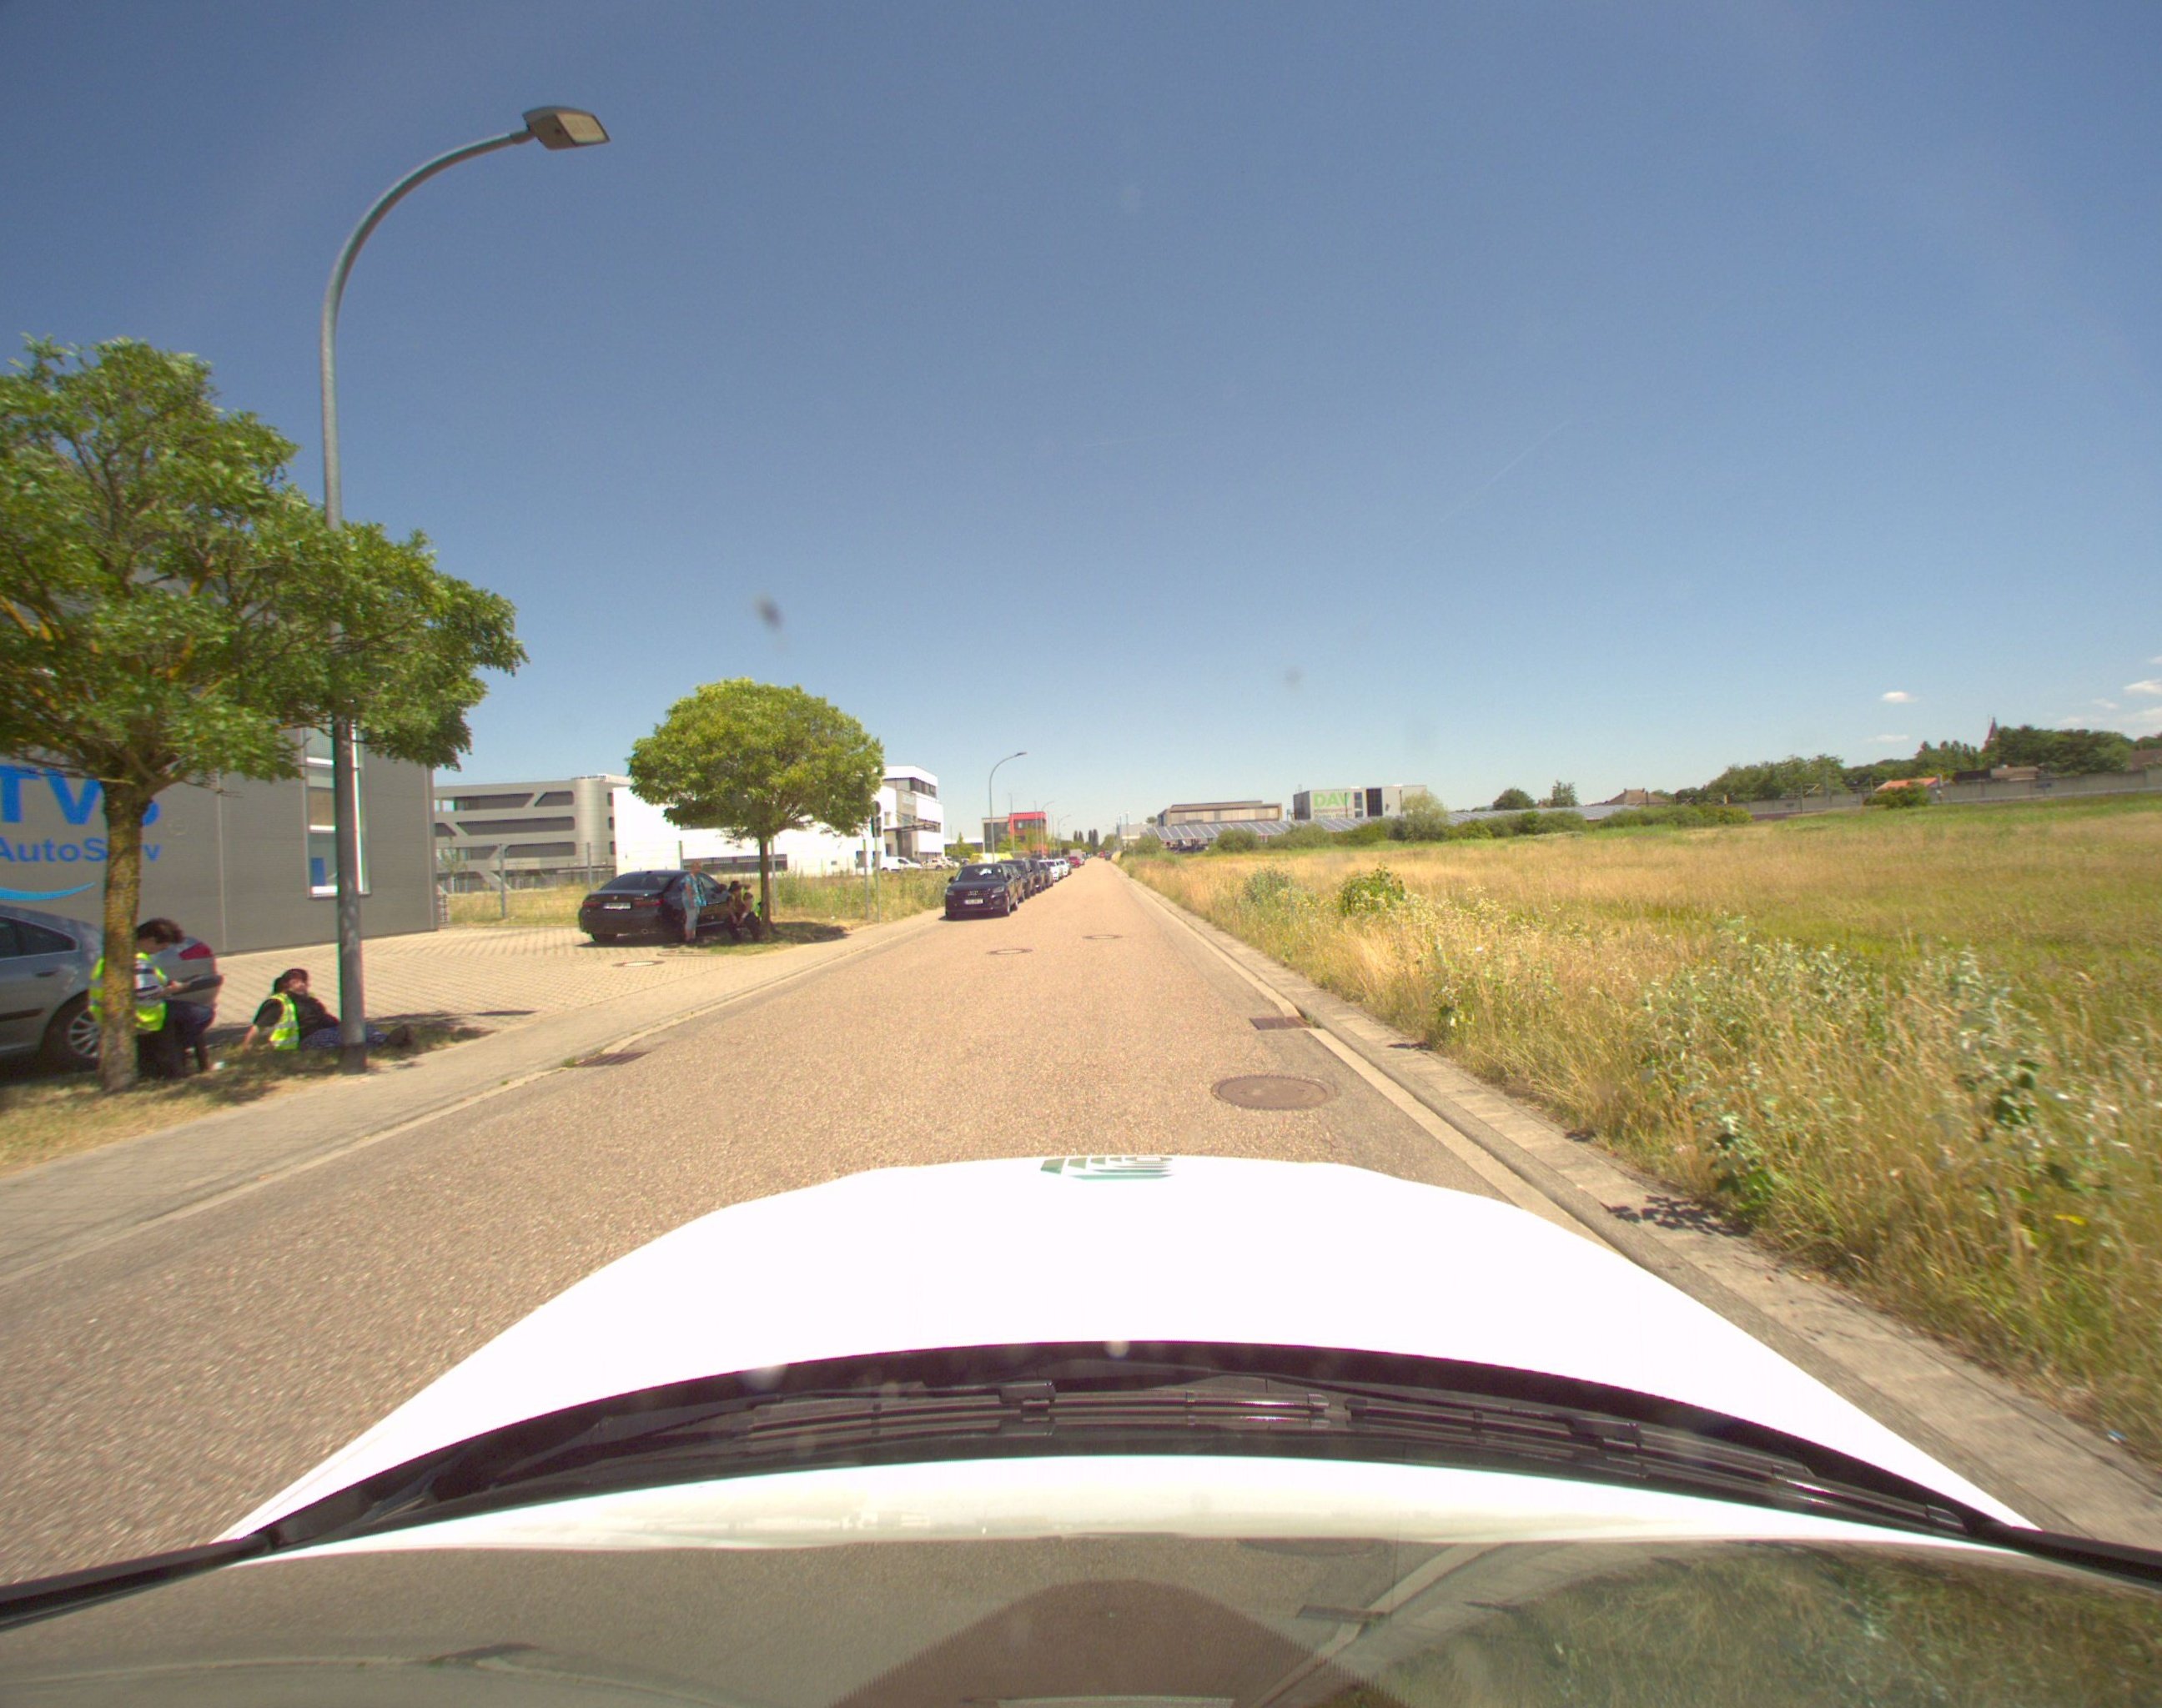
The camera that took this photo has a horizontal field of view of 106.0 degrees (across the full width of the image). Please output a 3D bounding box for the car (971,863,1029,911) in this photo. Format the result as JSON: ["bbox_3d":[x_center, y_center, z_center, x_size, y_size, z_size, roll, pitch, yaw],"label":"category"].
[{"bbox_3d":[-2.872,1.161,29.652,1.584,1.492,3.833,-3,0,1],"label":"car"}]

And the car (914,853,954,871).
[{"bbox_3d":[-18.452,1.035,102.263,4.512,1.943,2.032,-3,0,1],"label":"car"}]

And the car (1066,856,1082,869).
[{"bbox_3d":[-0.907,1.112,106.461,1.780,1.520,3.983,-3,0,1],"label":"car"}]

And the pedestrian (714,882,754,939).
[{"bbox_3d":[-7.503,1.203,17.609,0.503,1.191,0.753,0,0,3],"label":"pedestrian"}]

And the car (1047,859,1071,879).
[{"bbox_3d":[-1.805,1.227,68.858,1.780,1.520,3.983,-3,0,1],"label":"car"}]

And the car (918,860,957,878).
[{"bbox_3d":[-18.443,1.925,104.725,4.512,1.943,2.032,-3,0,1],"label":"car"}]

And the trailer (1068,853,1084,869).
[{"bbox_3d":[-0.714,1.007,117.896,2.193,2.137,4.286,-3,0,1],"label":"trailer"}]

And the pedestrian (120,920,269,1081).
[{"bbox_3d":[-6.814,1.097,6.284,0.475,1.150,0.556,0,-3,11],"label":"pedestrian"}]

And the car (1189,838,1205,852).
[{"bbox_3d":[17.824,-1.334,125.235,1.987,2.013,4.001,-3,0,1],"label":"car"}]

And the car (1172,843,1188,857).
[{"bbox_3d":[15.232,-0.651,125.339,1.987,2.013,4.001,-3,0,1],"label":"car"}]

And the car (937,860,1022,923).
[{"bbox_3d":[-2.896,1.023,24.108,1.921,1.567,4.189,-3,0,0],"label":"car"}]

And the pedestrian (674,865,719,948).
[{"bbox_3d":[-7.629,1.023,16.172,0.503,1.595,0.753,0,0,3],"label":"pedestrian"}]

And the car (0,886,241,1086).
[{"bbox_3d":[-8.929,1.017,5.219,1.919,1.440,4.843,-3,-1,2],"label":"car"}]

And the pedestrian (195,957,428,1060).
[{"bbox_3d":[-6.741,1.337,7.190,1.352,0.749,0.753,0,0,3],"label":"pedestrian"}]

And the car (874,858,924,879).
[{"bbox_3d":[-18.900,1.486,84.709,4.512,1.943,2.032,-3,0,1],"label":"car"}]

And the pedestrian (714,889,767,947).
[{"bbox_3d":[-6.706,1.248,16.072,0.747,1.099,0.647,0,0,5],"label":"pedestrian"}]

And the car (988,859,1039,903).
[{"bbox_3d":[-2.806,1.088,34.725,1.671,1.663,4.237,-3,0,1],"label":"car"}]

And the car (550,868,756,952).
[{"bbox_3d":[-8.894,1.086,17.488,1.920,1.464,4.691,0,0,0],"label":"car"}]

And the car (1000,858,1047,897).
[{"bbox_3d":[-2.764,1.105,40.019,1.762,1.663,4.553,-3,0,1],"label":"car"}]

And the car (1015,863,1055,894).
[{"bbox_3d":[-2.525,1.328,45.868,1.762,1.486,5.015,-3,0,1],"label":"car"}]

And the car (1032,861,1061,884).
[{"bbox_3d":[-2.395,1.279,57.420,1.780,1.520,3.983,-3,-1,1],"label":"car"}]
